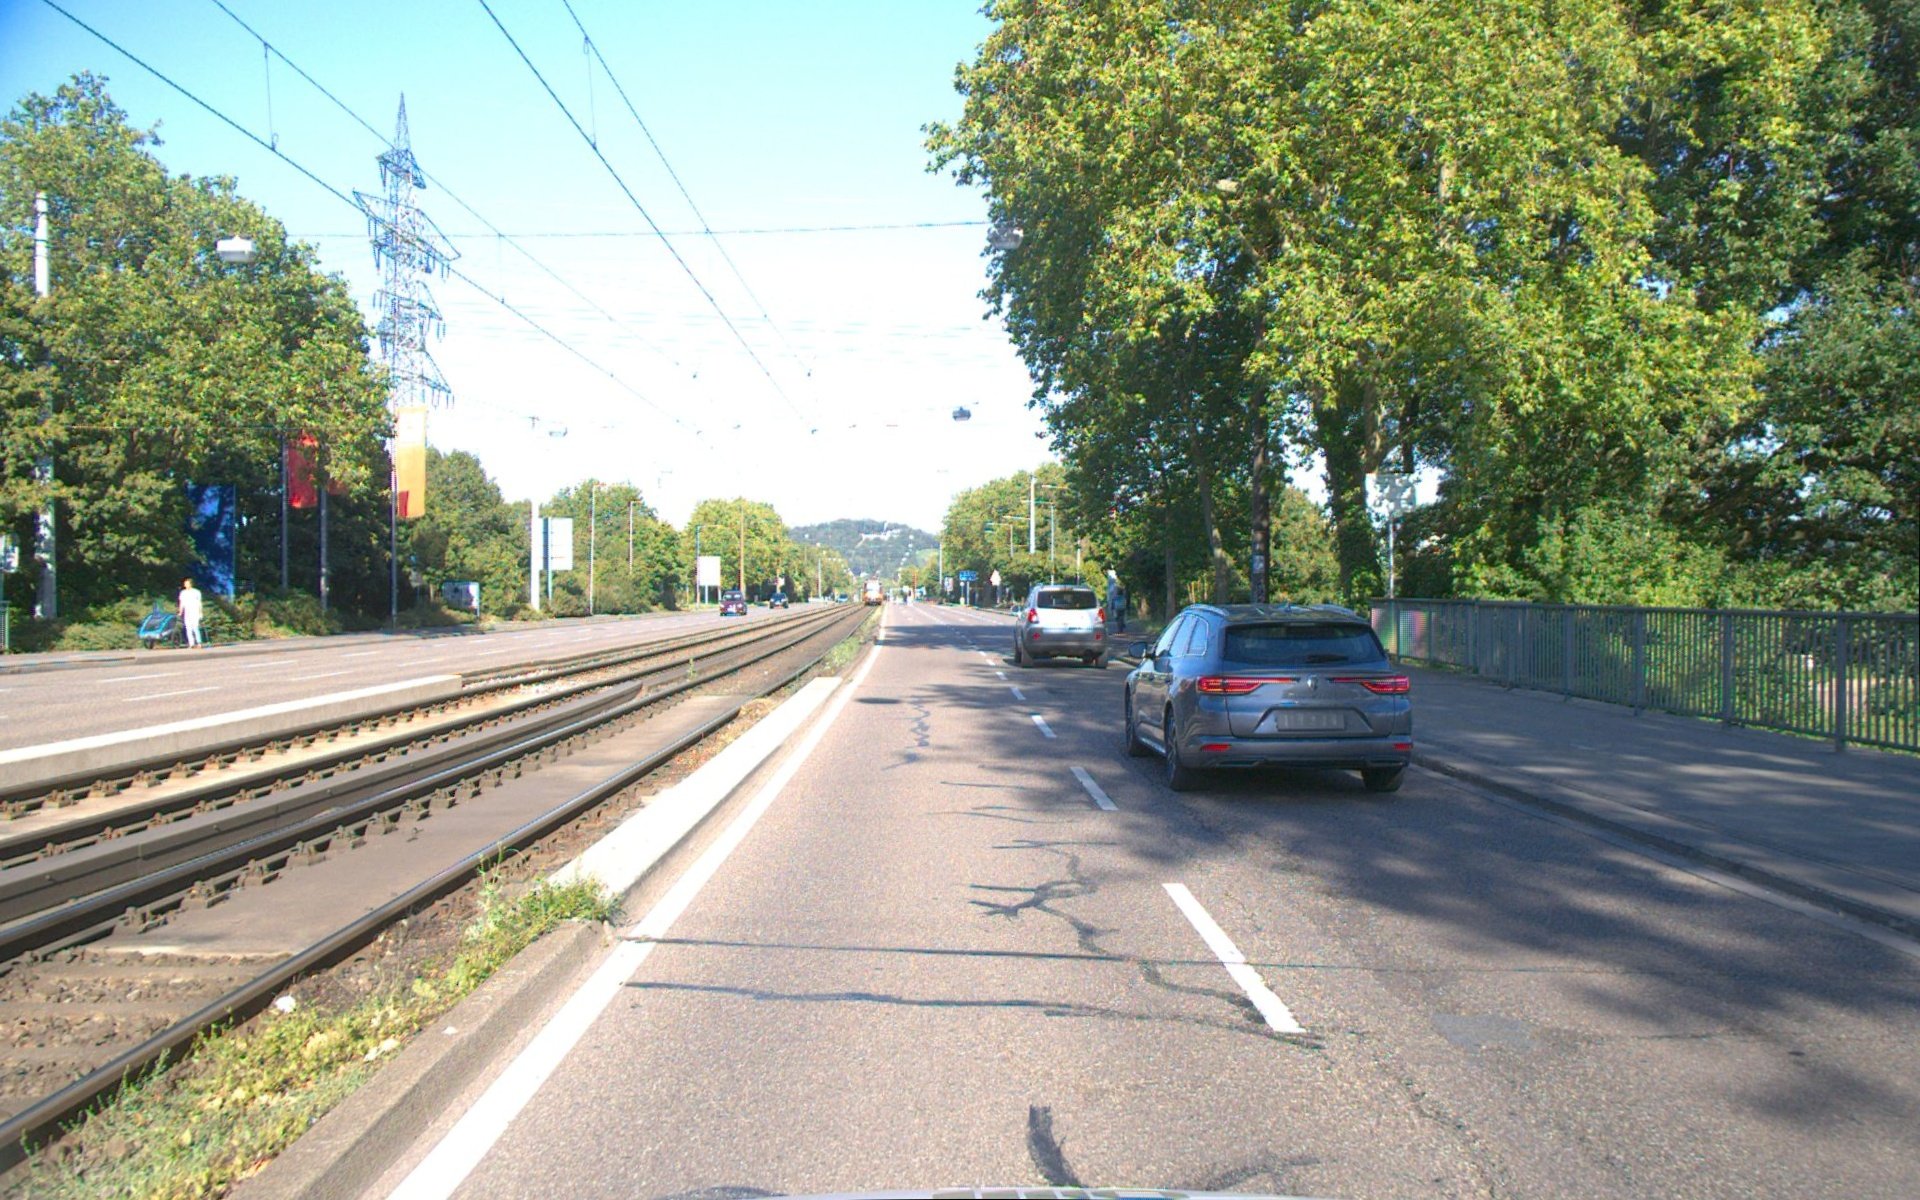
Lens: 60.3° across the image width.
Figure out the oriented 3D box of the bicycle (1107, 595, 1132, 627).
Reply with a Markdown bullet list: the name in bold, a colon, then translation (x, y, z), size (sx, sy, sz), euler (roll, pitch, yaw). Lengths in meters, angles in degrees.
- **bicycle**: translation (5.991, 0.397, 62.135), size (0.778, 1.113, 1.895), euler (-2, 1, 2)

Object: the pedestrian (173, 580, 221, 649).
- **pedestrian**: translation (-20.421, 0.388, 44.292), size (0.709, 1.787, 0.835), euler (2, -1, 20)

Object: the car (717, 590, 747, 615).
- **car**: translation (-17.168, 0.170, 124.801), size (1.825, 1.750, 3.999), euler (0, 1, -2)

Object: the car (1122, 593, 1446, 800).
- **car**: translation (2.574, 0.689, 14.293), size (1.828, 1.493, 4.665), euler (0, 0, -1)

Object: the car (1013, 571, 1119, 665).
- **car**: translation (2.217, 0.328, 35.609), size (1.845, 1.827, 3.999), euler (2, 1, -2)

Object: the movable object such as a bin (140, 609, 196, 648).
- **movable object such as a bin**: translation (-20.768, 0.758, 43.371), size (0.709, 0.978, 1.101), euler (2, -1, 20)

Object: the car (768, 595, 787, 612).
- **car**: translation (-20.021, 0.360, 181.314), size (1.868, 1.672, 3.997), euler (2, 1, -4)

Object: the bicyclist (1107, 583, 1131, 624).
- **bicyclist**: translation (5.968, 0.118, 62.060), size (0.778, 1.485, 1.112), euler (-2, 1, 2)
